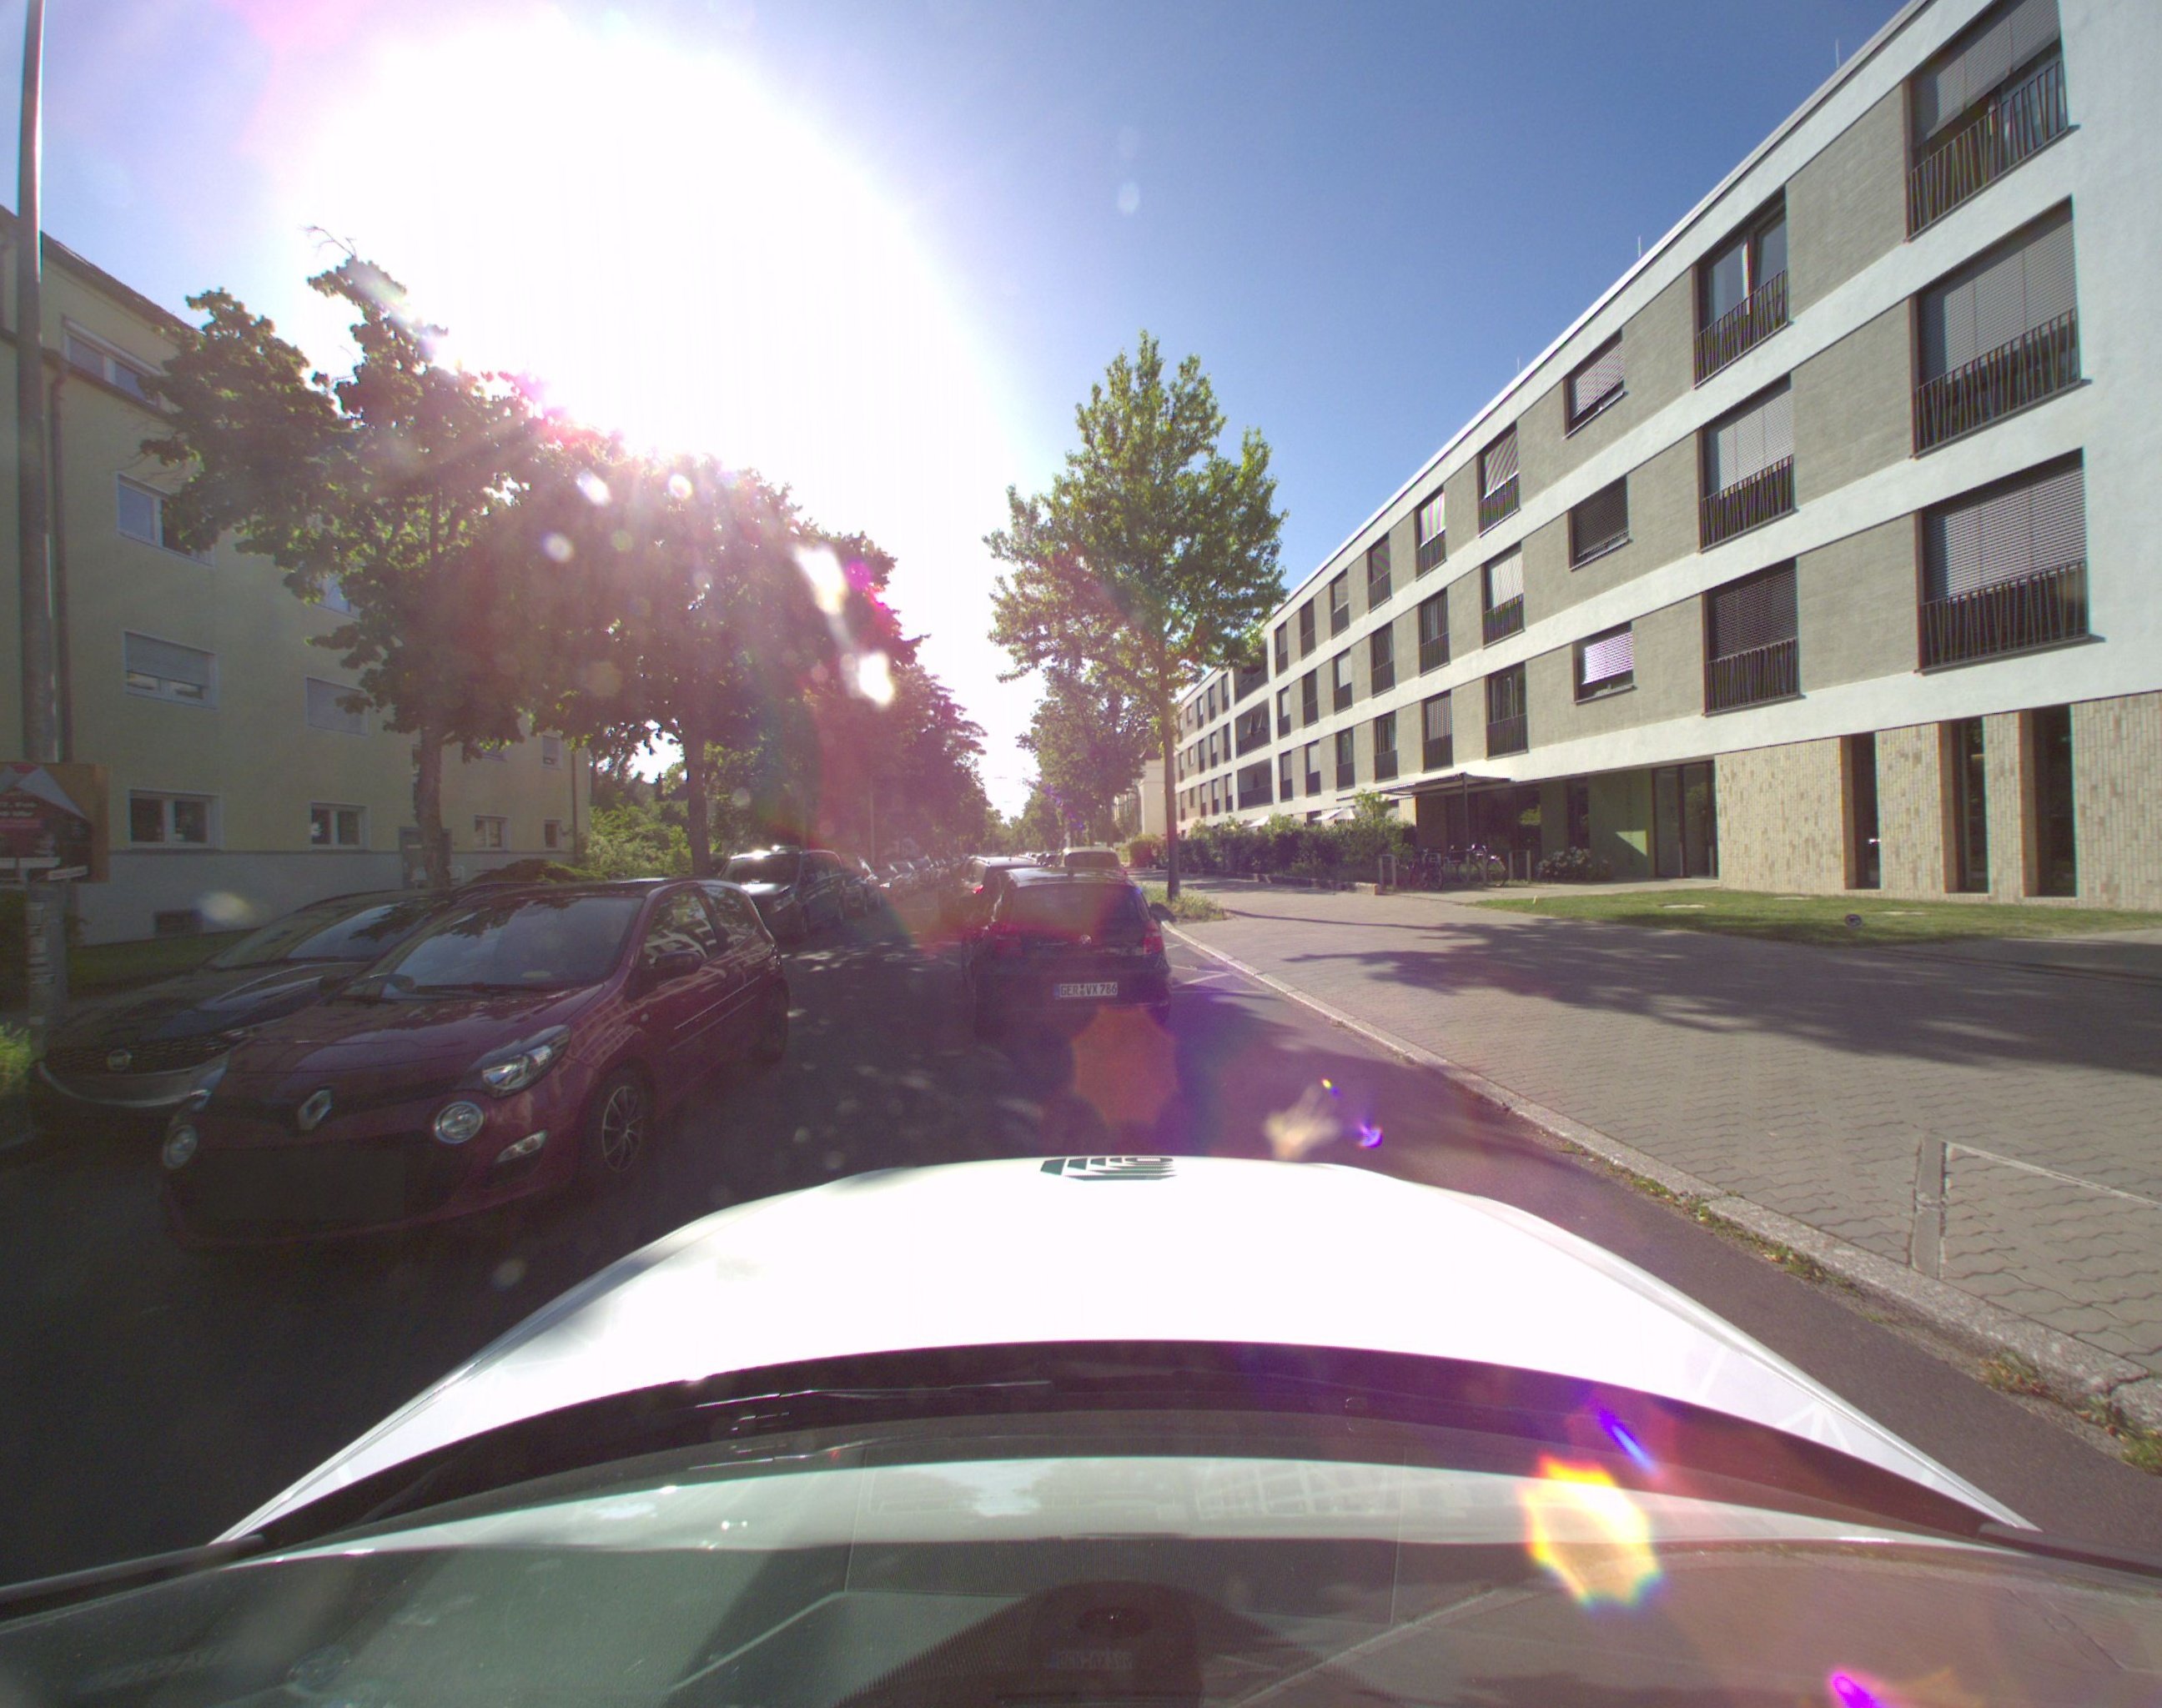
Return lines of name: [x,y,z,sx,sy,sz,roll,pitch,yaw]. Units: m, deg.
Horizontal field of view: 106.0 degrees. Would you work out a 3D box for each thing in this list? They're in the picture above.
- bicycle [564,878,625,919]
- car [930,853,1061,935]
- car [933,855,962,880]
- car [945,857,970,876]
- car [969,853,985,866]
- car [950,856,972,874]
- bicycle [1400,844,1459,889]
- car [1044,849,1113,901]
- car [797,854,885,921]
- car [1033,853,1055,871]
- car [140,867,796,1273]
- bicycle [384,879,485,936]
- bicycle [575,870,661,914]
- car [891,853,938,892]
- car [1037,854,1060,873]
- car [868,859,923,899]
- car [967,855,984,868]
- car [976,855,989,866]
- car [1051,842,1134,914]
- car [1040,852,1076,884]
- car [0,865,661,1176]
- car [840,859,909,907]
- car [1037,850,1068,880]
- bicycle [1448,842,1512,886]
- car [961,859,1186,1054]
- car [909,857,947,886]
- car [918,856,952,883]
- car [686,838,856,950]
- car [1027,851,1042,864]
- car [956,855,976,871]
bicycle: [-13.407,1.208,22.515,0.593,0.991,1.925,-3,0,-4]
car: [-1.907,0.745,16.979,1.656,1.425,3.972,-3,0,-21]
car: [-9.133,0.910,55.972,1.610,1.543,3.858,-3,0,-5]
car: [-9.886,0.966,65.384,1.610,1.392,3.858,-3,0,-5]
car: [-12.068,0.617,94.893,1.610,1.392,3.858,-3,0,-5]
car: [-10.377,0.952,70.624,1.610,1.392,3.858,-3,0,-5]
bicycle: [8.722,0.299,20.459,0.545,1.055,1.687,-3,0,-7]
car: [-0.166,0.644,26.786,1.693,1.524,3.988,-1,0,-8]
car: [-6.674,0.855,23.045,1.611,1.611,4.219,-3,0,-7]
car: [-3.065,0.636,66.971,1.717,1.480,3.846,0,0,-3]
car: [-2.934,0.857,4.777,1.502,1.426,3.173,-3,0,-4]
bicycle: [-13.098,1.060,16.568,0.593,0.991,1.925,-3,0,-4]
bicycle: [-14.352,1.153,25.308,2.149,1.208,0.686,-3,0,-16]
car: [-7.877,0.820,38.818,1.610,1.678,4.226,-3,0,-5]
car: [-2.526,0.683,62.220,1.717,1.379,3.846,0,0,-3]
car: [-7.542,0.964,33.394,1.610,1.427,3.719,-3,0,-5]
car: [-11.587,0.809,89.498,1.610,1.392,3.858,-3,0,-5]
car: [-13.172,0.855,109.081,1.610,1.392,3.858,-3,0,-5]
car: [0.188,0.574,21.108,1.844,1.631,4.405,-1,0,-3]
car: [-1.211,0.669,41.162,1.717,1.528,3.995,0,0,-3]
car: [-5.470,0.961,6.977,1.505,1.548,4.770,-4,0,-5]
car: [-7.100,0.947,28.328,1.610,1.427,4.050,-3,0,-5]
car: [-1.692,0.608,47.141,1.717,1.641,3.846,0,0,-3]
bicycle: [10.073,0.240,20.622,0.545,1.055,1.775,-3,0,-7]
car: [-0.281,0.802,8.087,1.649,1.396,3.400,-3,0,-10]
car: [-8.296,0.917,44.497,1.610,1.452,3.858,-3,0,-5]
car: [-8.763,0.905,49.077,1.610,1.452,3.858,-3,0,-5]
car: [-6.330,0.715,17.353,1.823,1.904,5.135,-4,0,-4]
car: [-5.810,0.468,102.103,1.716,1.480,3.849,-3,0,-1]
car: [-11.019,0.846,78.087,1.610,1.392,3.858,-3,0,-5]
